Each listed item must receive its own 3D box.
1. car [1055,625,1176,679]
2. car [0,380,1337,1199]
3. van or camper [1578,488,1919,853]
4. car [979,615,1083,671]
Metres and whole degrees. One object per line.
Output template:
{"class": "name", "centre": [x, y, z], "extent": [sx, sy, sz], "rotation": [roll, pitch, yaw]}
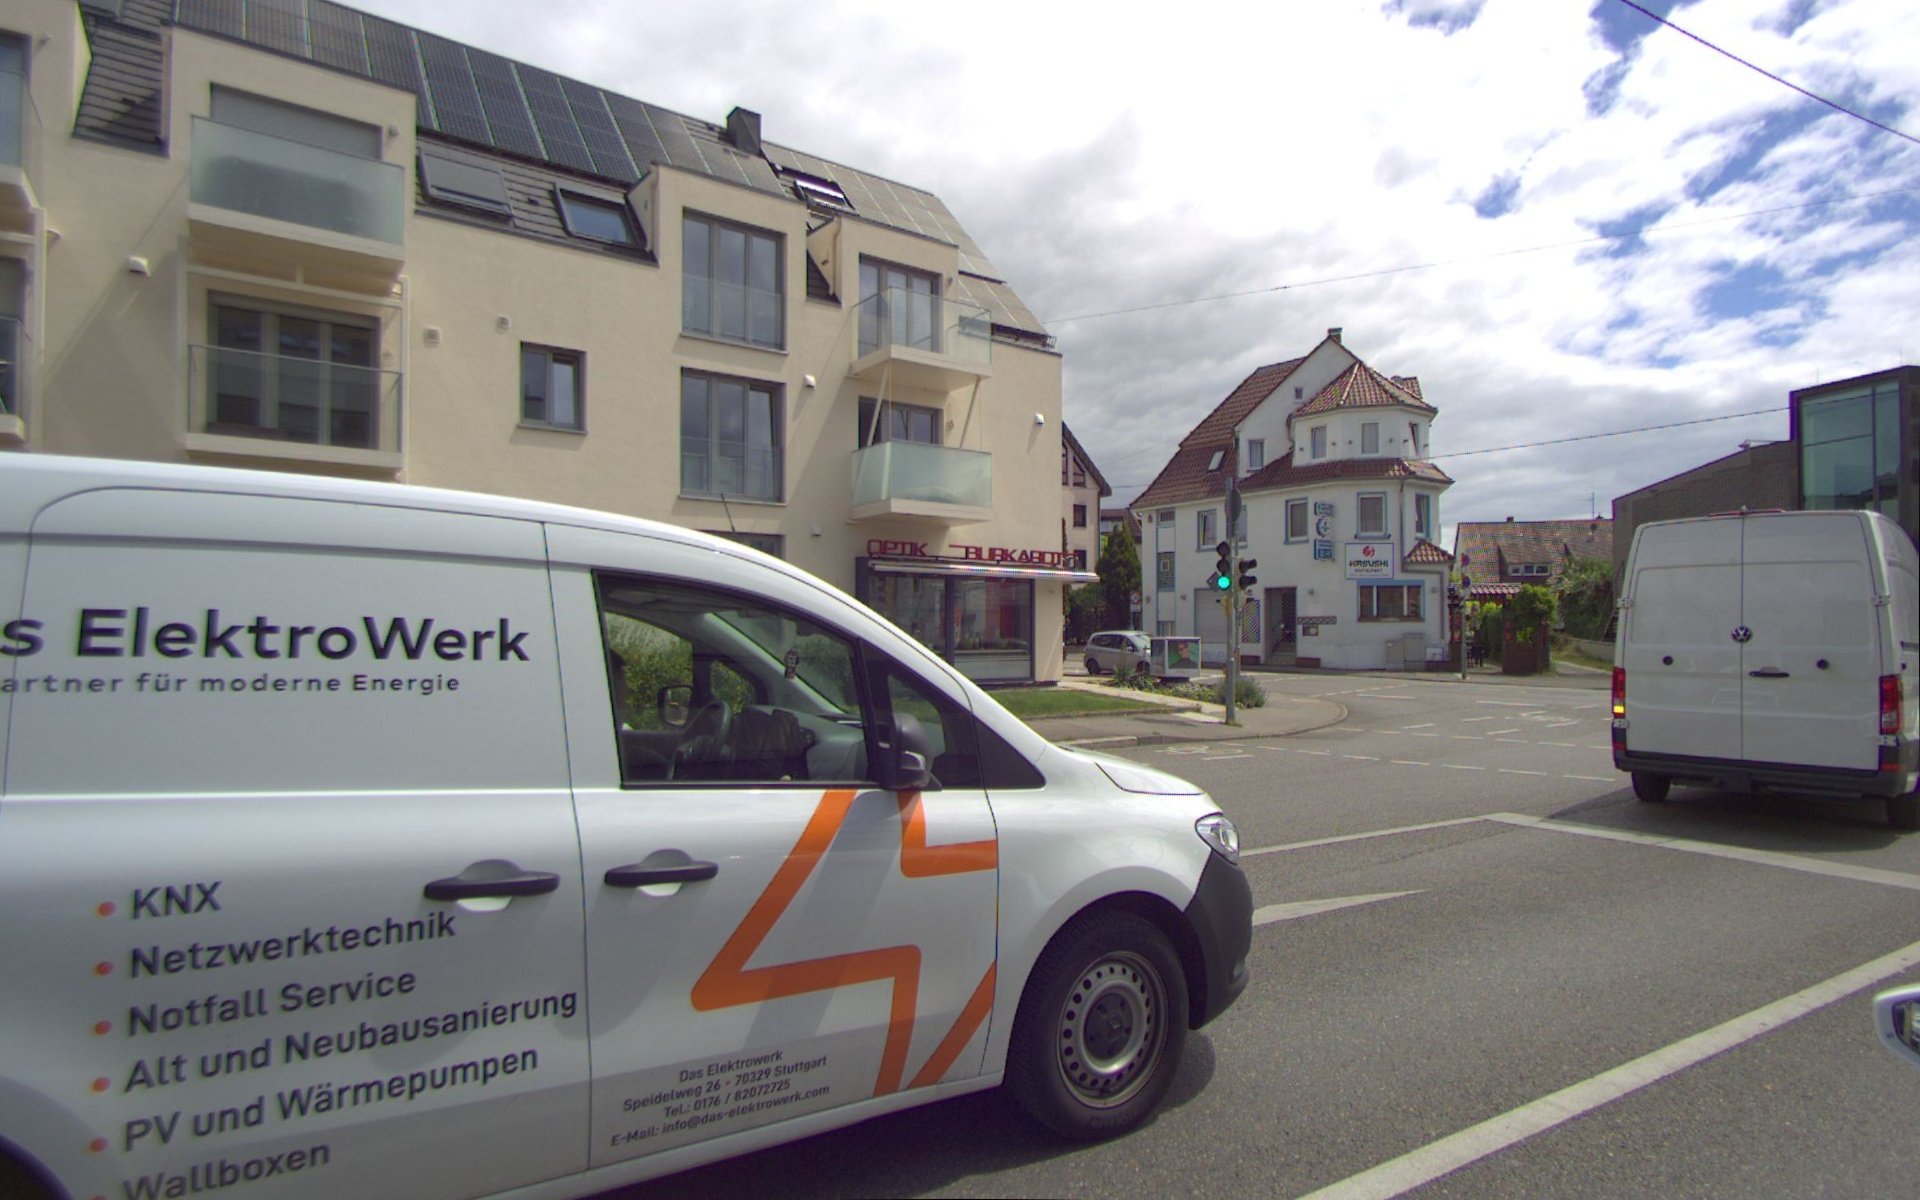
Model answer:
{"class": "car", "centre": [5.387, 1.772, 35.175], "extent": [1.981, 1.706, 3.959], "rotation": [2, -2, -36]}
{"class": "car", "centre": [-1.051, 0.607, 2.976], "extent": [4.370, 1.835, 1.806], "rotation": [2, -1, -32]}
{"class": "van or camper", "centre": [8.173, 0.621, 9.898], "extent": [5.604, 2.620, 2.088], "rotation": [2, -3, -43]}
{"class": "car", "centre": [2.706, 1.608, 39.100], "extent": [1.981, 2.040, 3.958], "rotation": [0, 0, -37]}
